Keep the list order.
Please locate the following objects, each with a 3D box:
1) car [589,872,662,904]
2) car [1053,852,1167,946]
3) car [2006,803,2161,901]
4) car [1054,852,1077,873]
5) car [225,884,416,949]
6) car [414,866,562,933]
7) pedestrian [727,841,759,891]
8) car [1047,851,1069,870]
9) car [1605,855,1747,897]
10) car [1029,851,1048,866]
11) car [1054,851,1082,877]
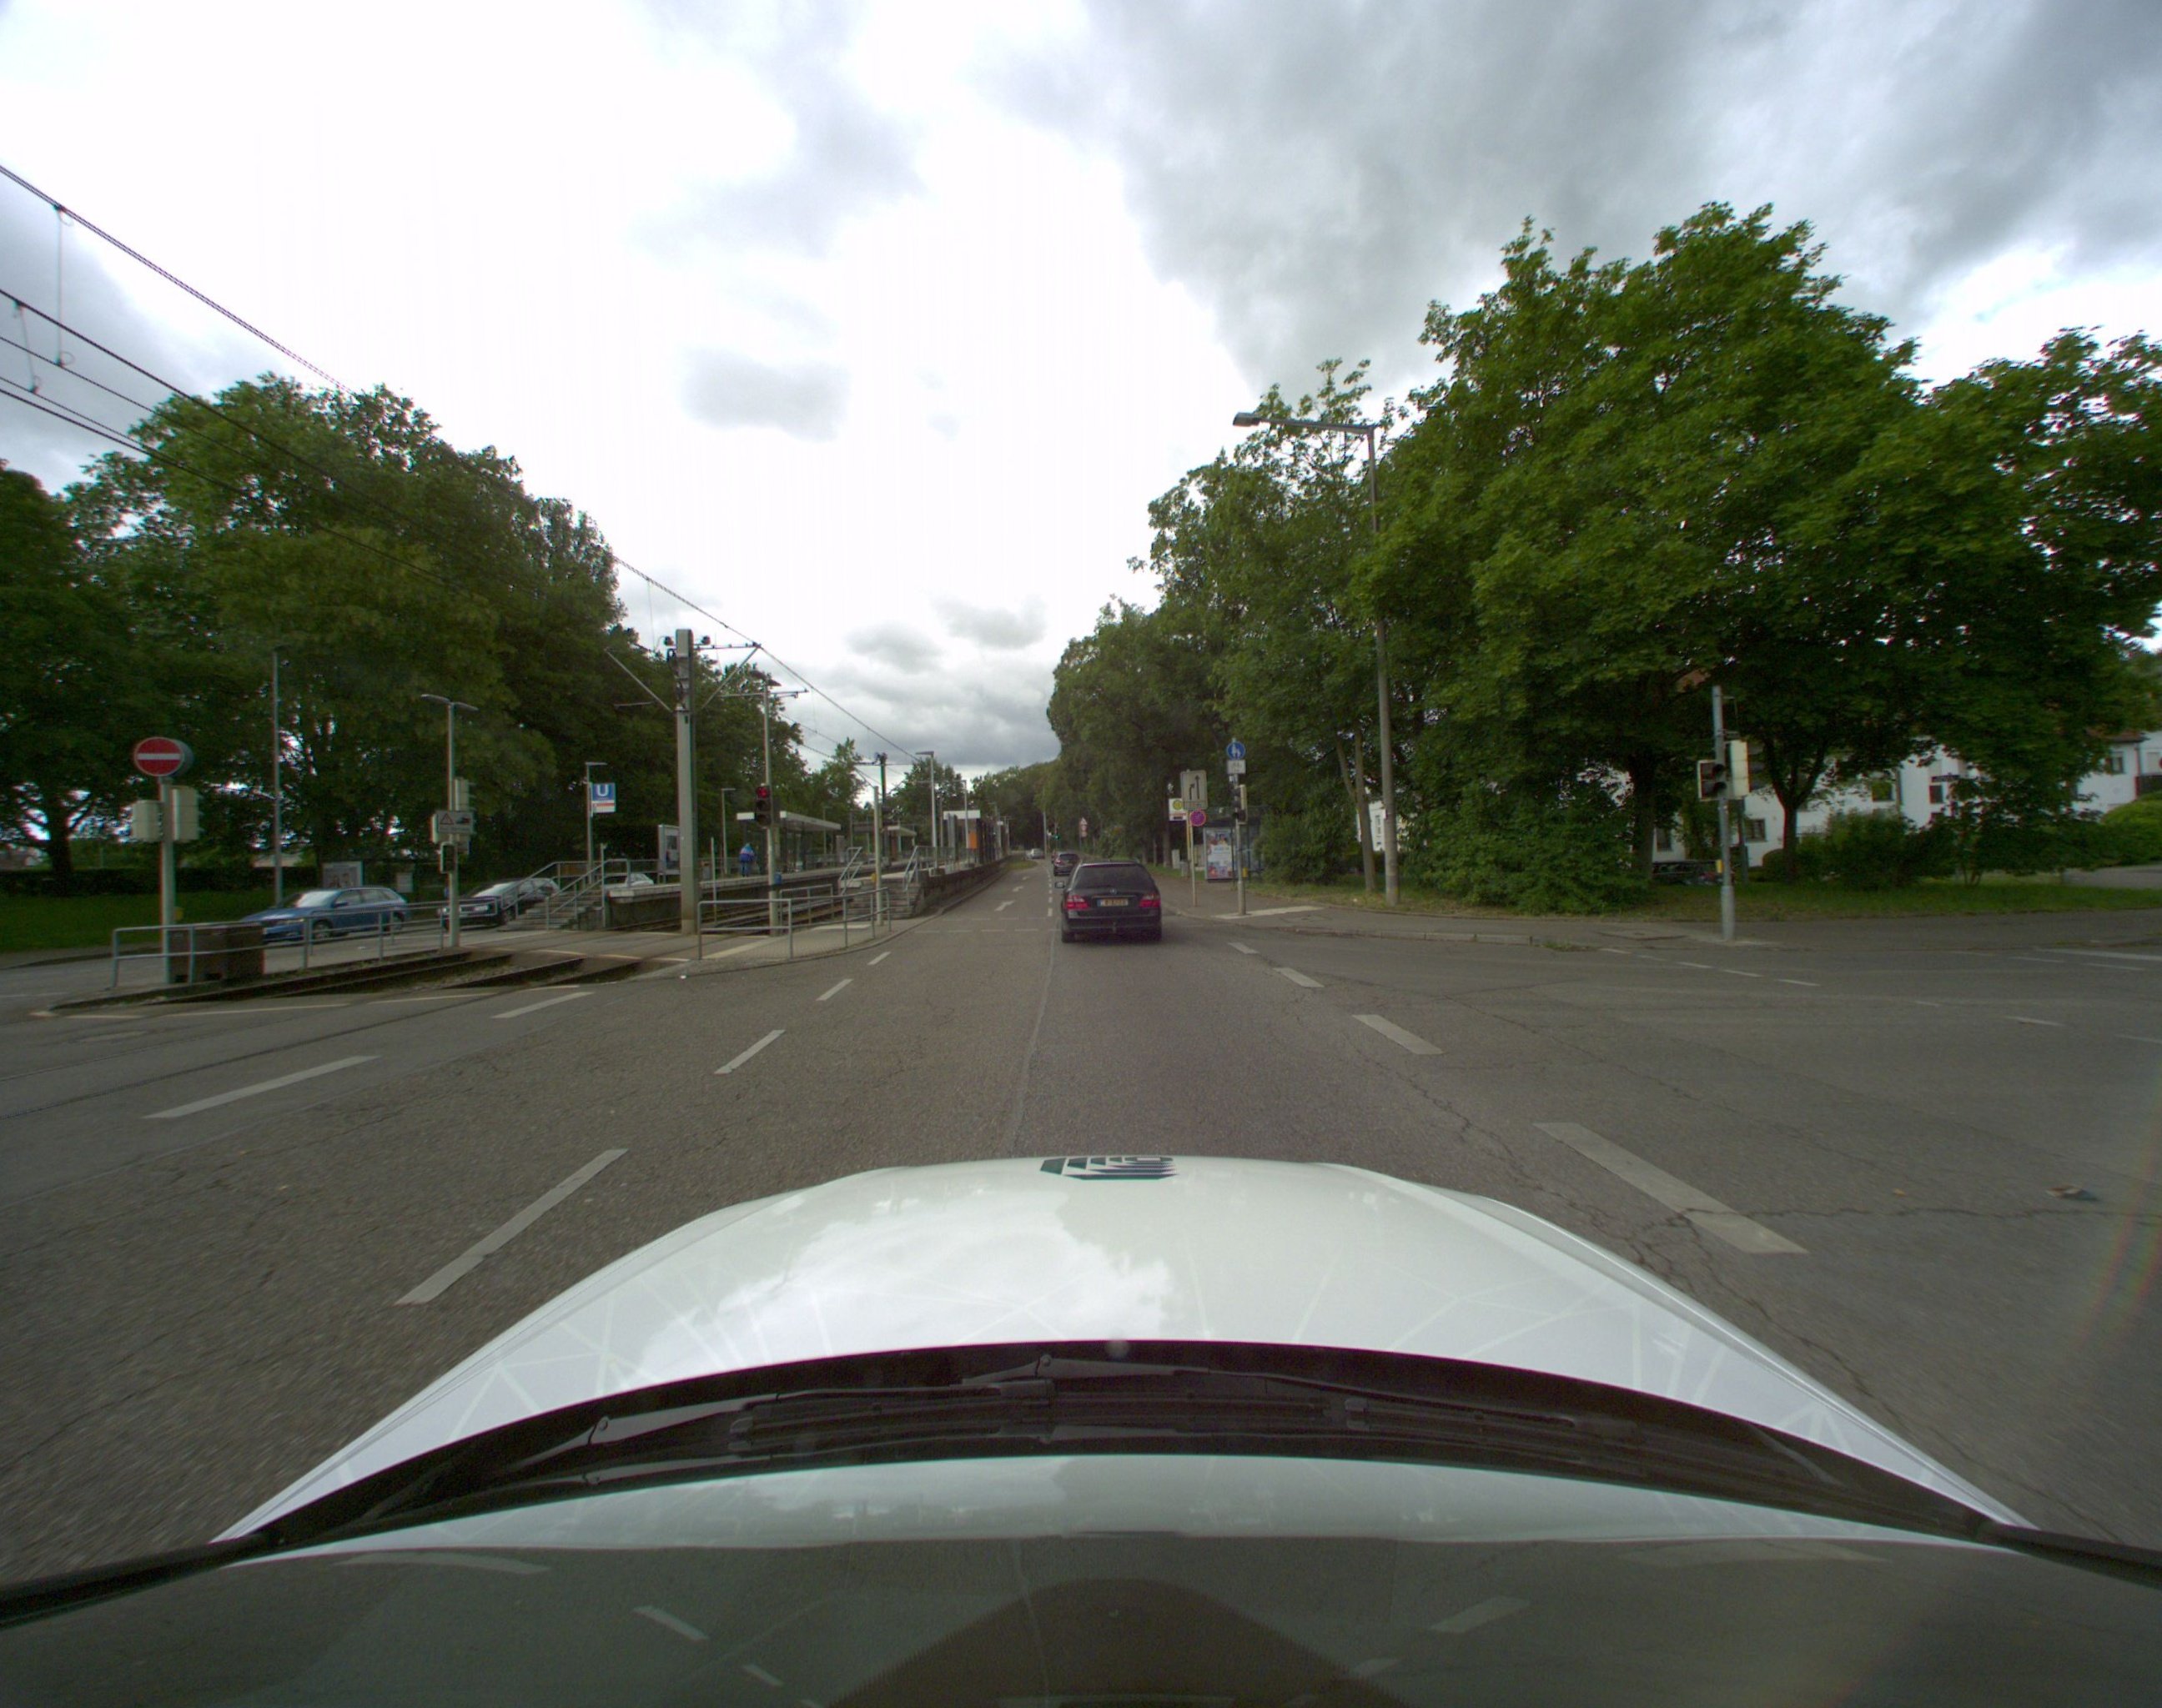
[{"bbox_3d":[-23.679,1.730,42.511,1.682,1.446,3.994,-4,-1,-4],"label":"car"},{"bbox_3d":[0.425,0.744,15.561,1.778,1.525,3.995,-1,0,-3],"label":"car"},{"bbox_3d":[23.643,-0.086,17.852,3.956,2.014,2.009,-2,-1,16],"label":"car"},{"bbox_3d":[-1.309,0.687,66.822,1.777,1.648,3.996,0,-1,-2],"label":"car"},{"bbox_3d":[-20.570,1.626,22.281,1.592,1.446,4.046,-4,-1,-5],"label":"car"},{"bbox_3d":[-17.855,1.308,24.769,1.693,1.860,3.995,0,-1,-3],"label":"car"},{"bbox_3d":[-14.990,0.520,36.163,0.967,2.186,0.975,-2,-1,-2],"label":"pedestrian"},{"bbox_3d":[-2.349,0.661,82.638,1.990,1.918,3.993,0,-1,-4],"label":"car"},{"bbox_3d":[22.197,0.818,30.615,1.662,1.461,4.269,0,-1,-13],"label":"car"},{"bbox_3d":[-5.414,0.611,103.690,1.993,1.893,3.987,0,-1,-9],"label":"car"},{"bbox_3d":[-0.888,0.662,53.476,1.777,1.648,3.997,0,-1,-2],"label":"car"}]
